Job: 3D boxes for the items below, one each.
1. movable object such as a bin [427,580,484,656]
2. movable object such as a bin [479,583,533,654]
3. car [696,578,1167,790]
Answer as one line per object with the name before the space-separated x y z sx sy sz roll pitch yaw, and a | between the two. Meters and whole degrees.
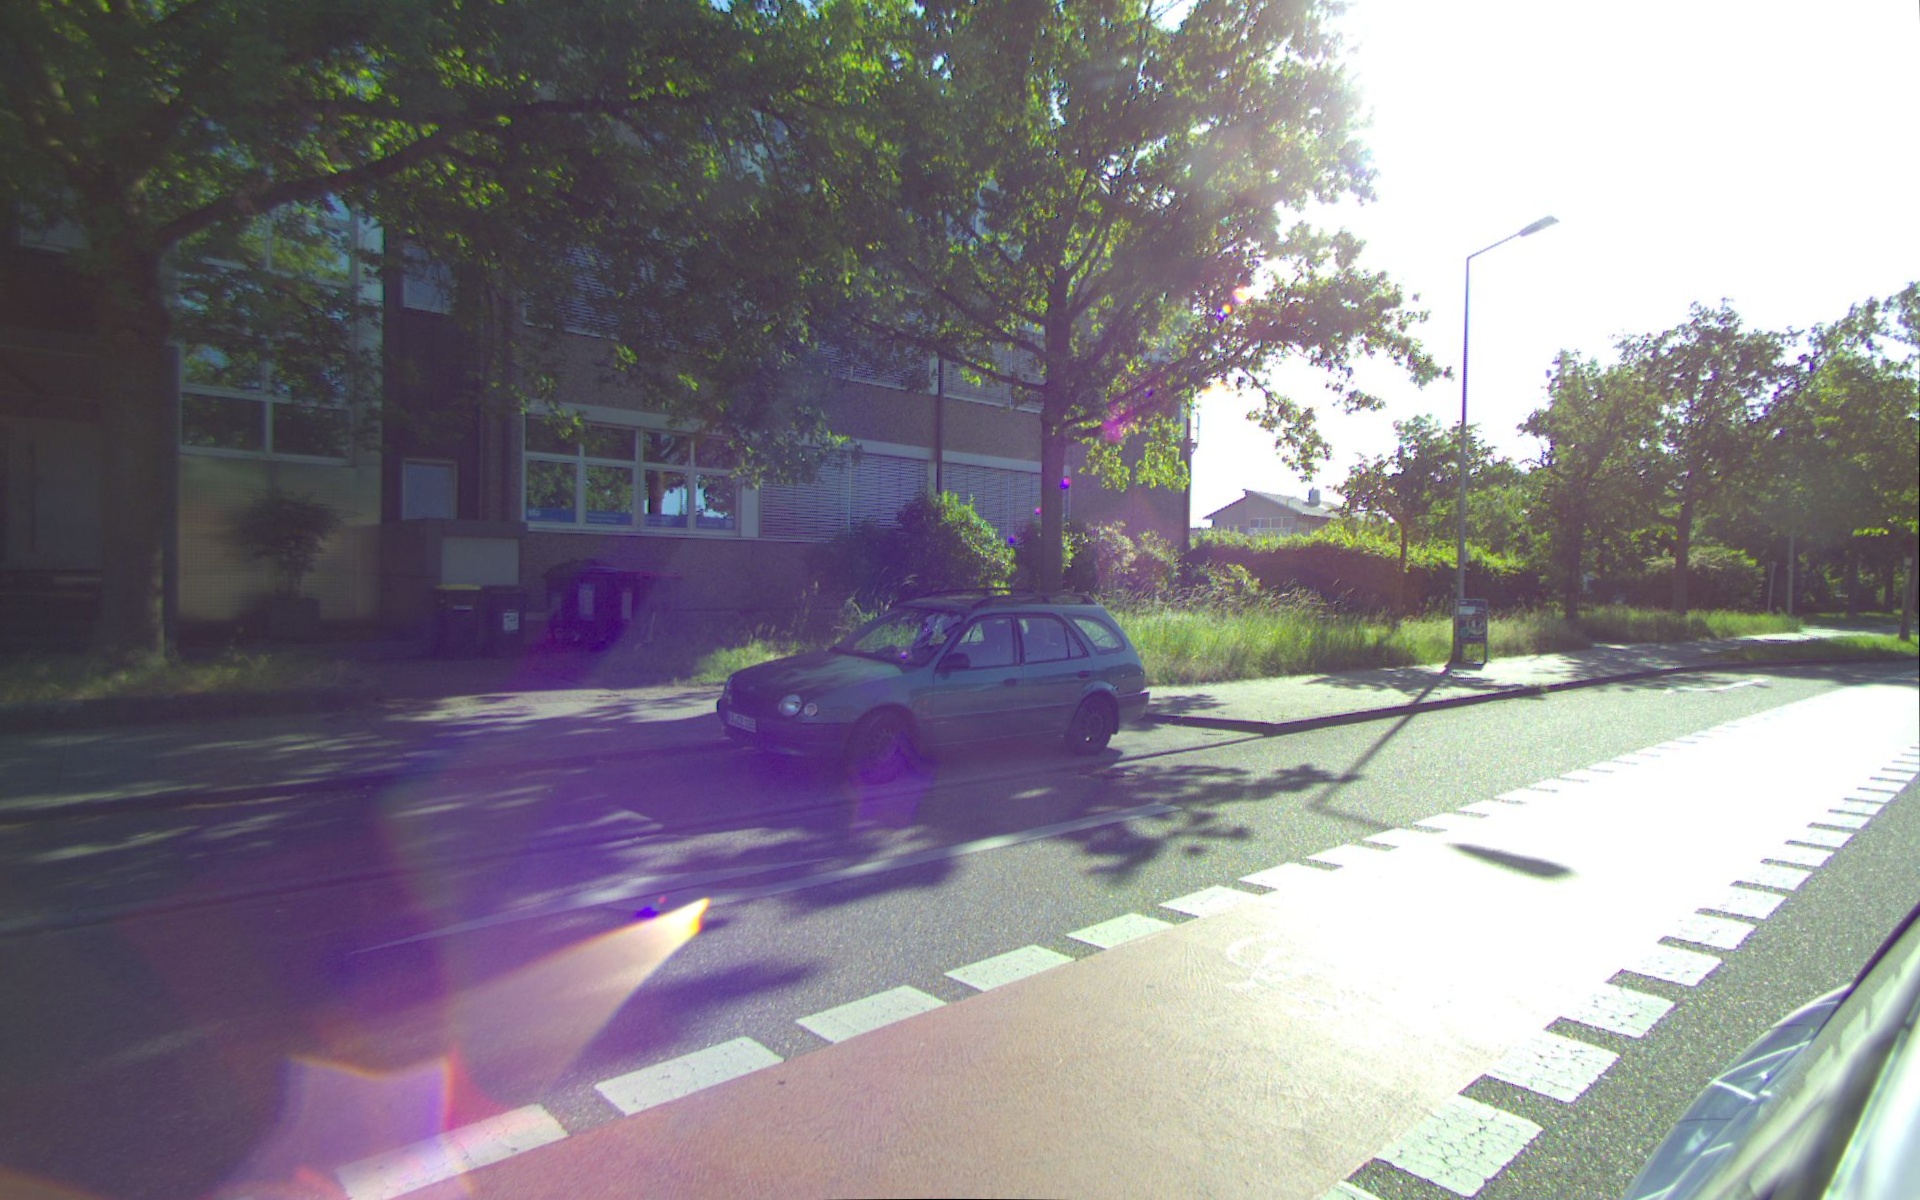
movable object such as a bin | -7.243 0.240 14.520 0.571 1.045 0.713 0 1 -41
movable object such as a bin | -6.736 0.262 15.008 0.566 1.020 0.629 -1 1 -41
car | -0.099 0.563 9.105 4.129 1.446 1.596 -1 3 -40
